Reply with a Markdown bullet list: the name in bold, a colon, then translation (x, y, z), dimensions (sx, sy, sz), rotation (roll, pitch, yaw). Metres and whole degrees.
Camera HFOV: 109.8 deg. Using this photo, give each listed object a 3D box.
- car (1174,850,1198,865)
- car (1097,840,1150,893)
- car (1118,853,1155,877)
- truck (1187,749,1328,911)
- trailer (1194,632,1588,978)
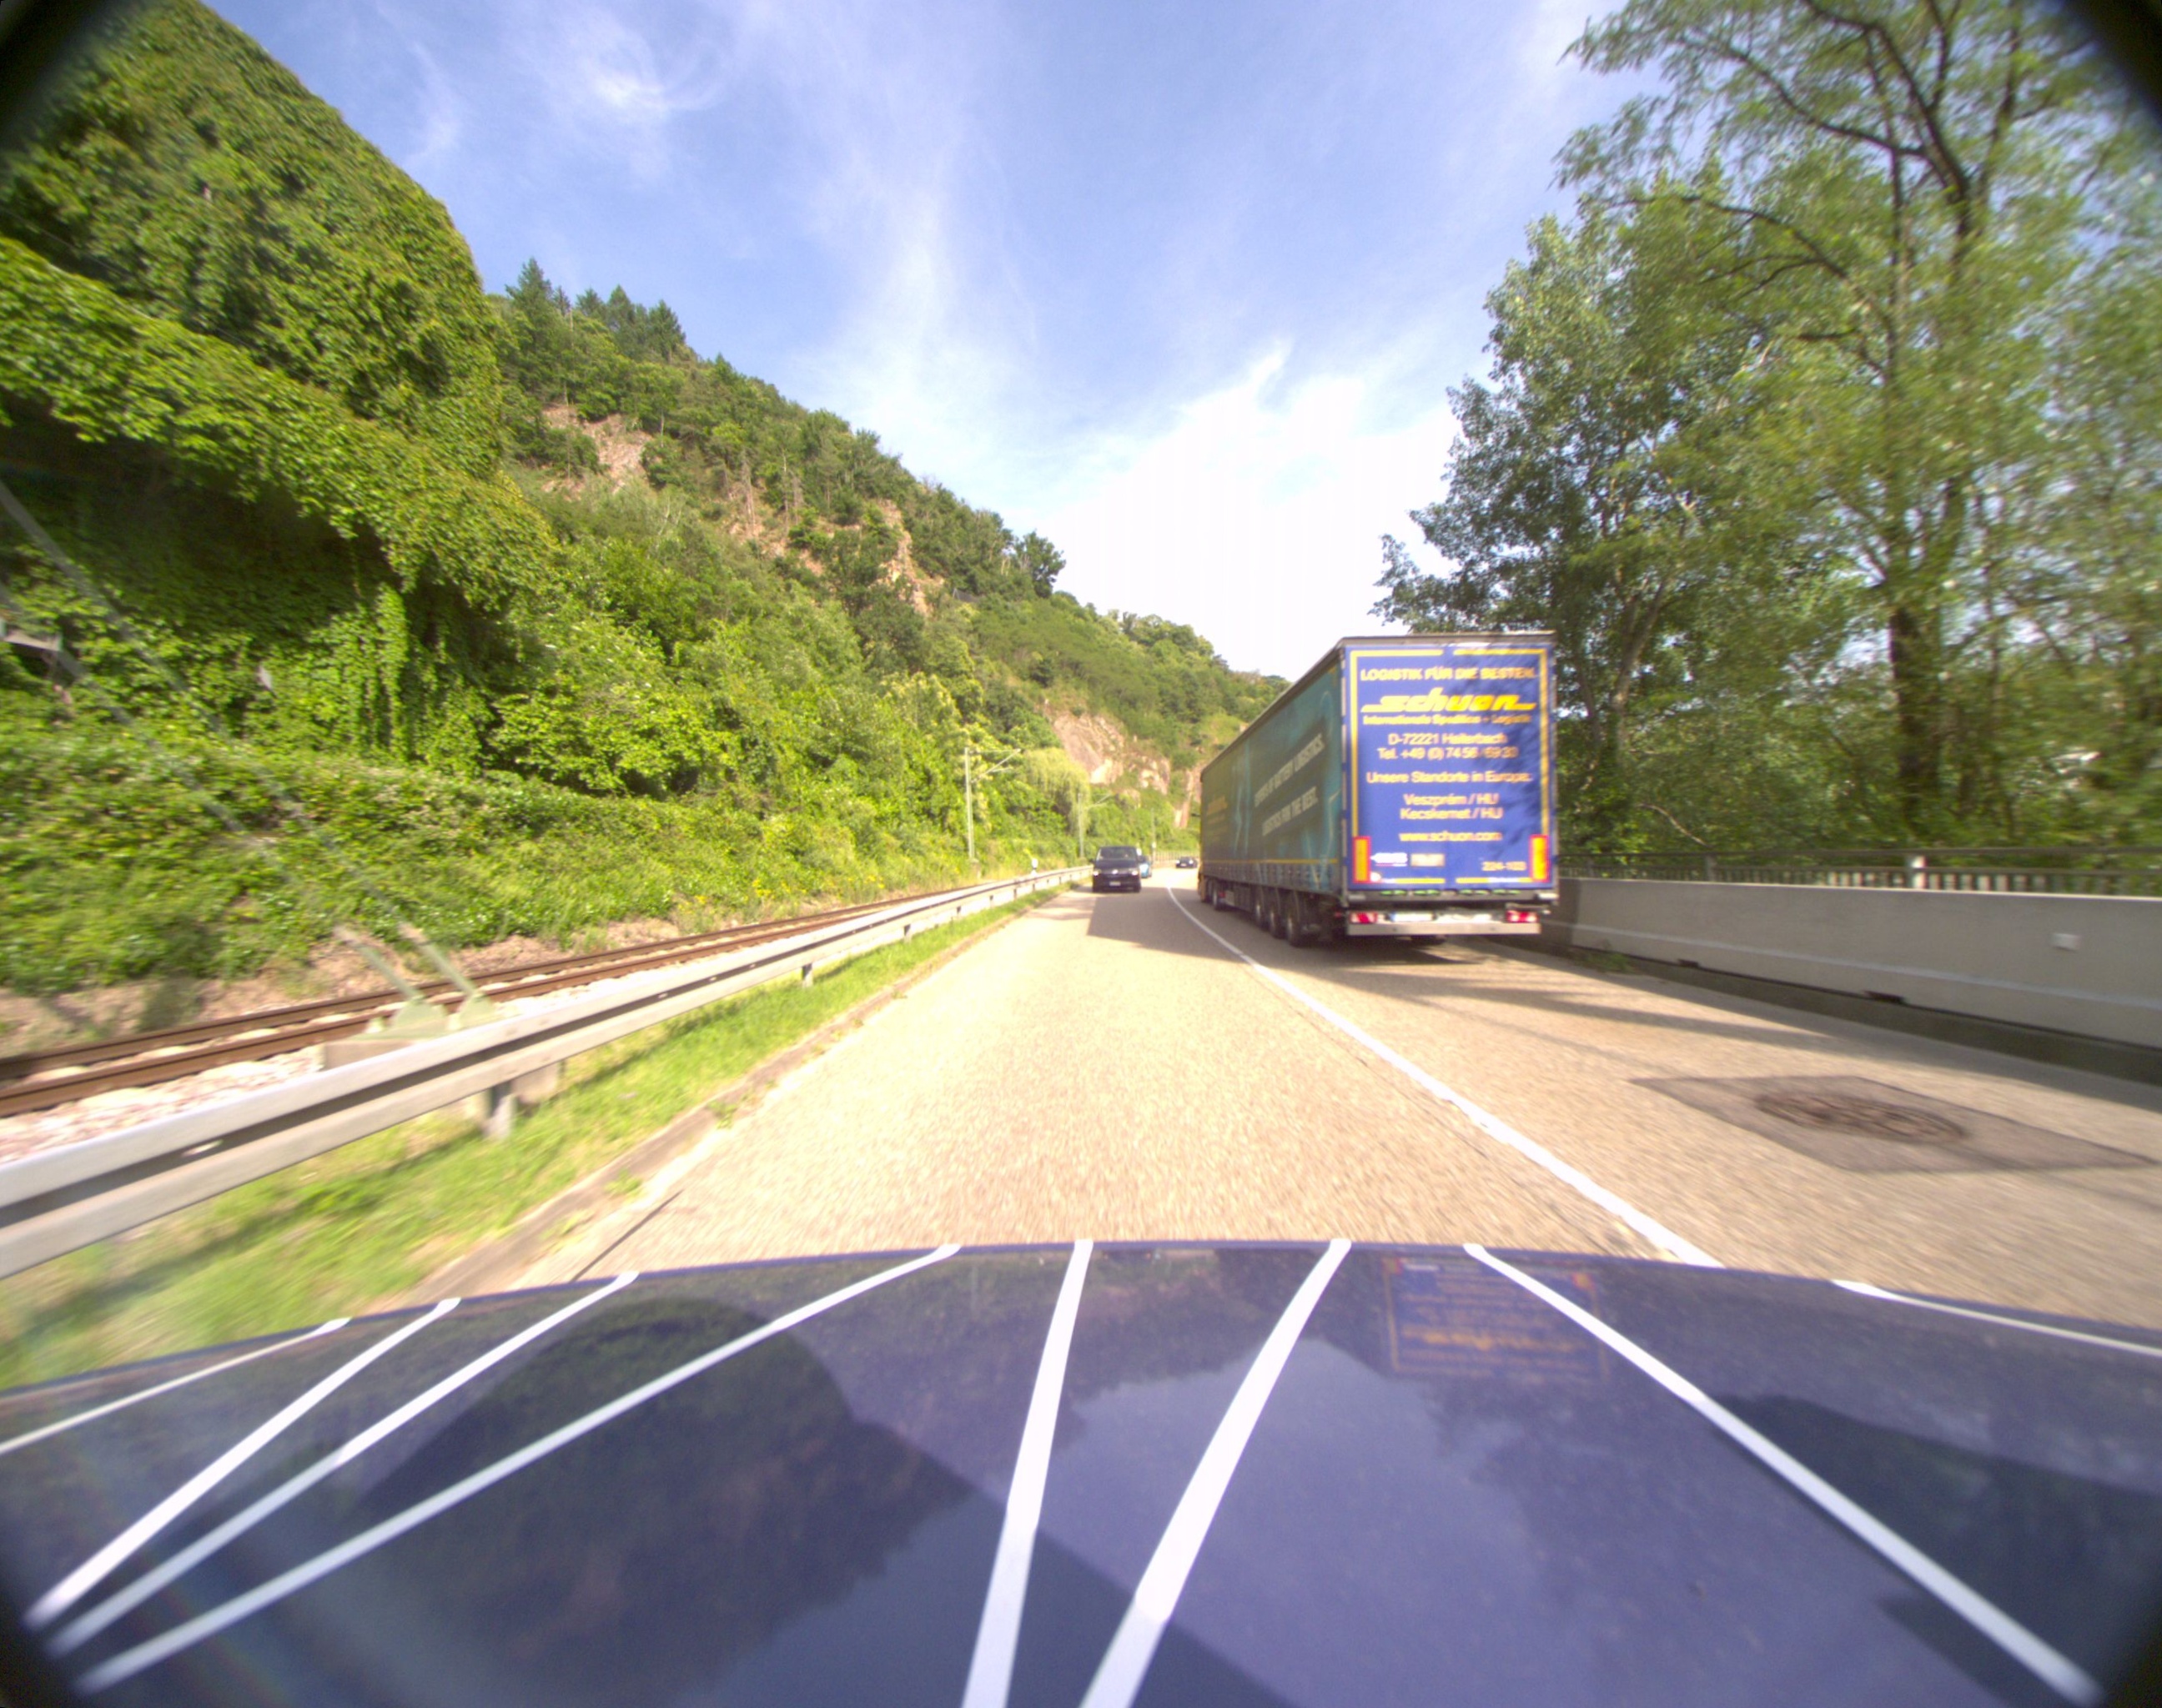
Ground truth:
- **car**: translation (11.084, 0.346, 79.974), dimensions (1.996, 1.486, 4.225), rotation (0, 1, 16)
- **car**: translation (1.808, 0.538, 31.553), dimensions (1.998, 2.001, 4.002), rotation (-2, -1, 5)
- **car**: translation (3.685, 0.676, 49.598), dimensions (1.997, 1.486, 4.223), rotation (0, 0, 10)
- **truck**: translation (4.850, -0.617, 22.195), dimensions (2.748, 4.005, 6.412), rotation (-1, 0, 1)
- **trailer**: translation (4.631, -0.584, 15.695), dimensions (2.863, 3.989, 13.670), rotation (-1, 0, 2)
